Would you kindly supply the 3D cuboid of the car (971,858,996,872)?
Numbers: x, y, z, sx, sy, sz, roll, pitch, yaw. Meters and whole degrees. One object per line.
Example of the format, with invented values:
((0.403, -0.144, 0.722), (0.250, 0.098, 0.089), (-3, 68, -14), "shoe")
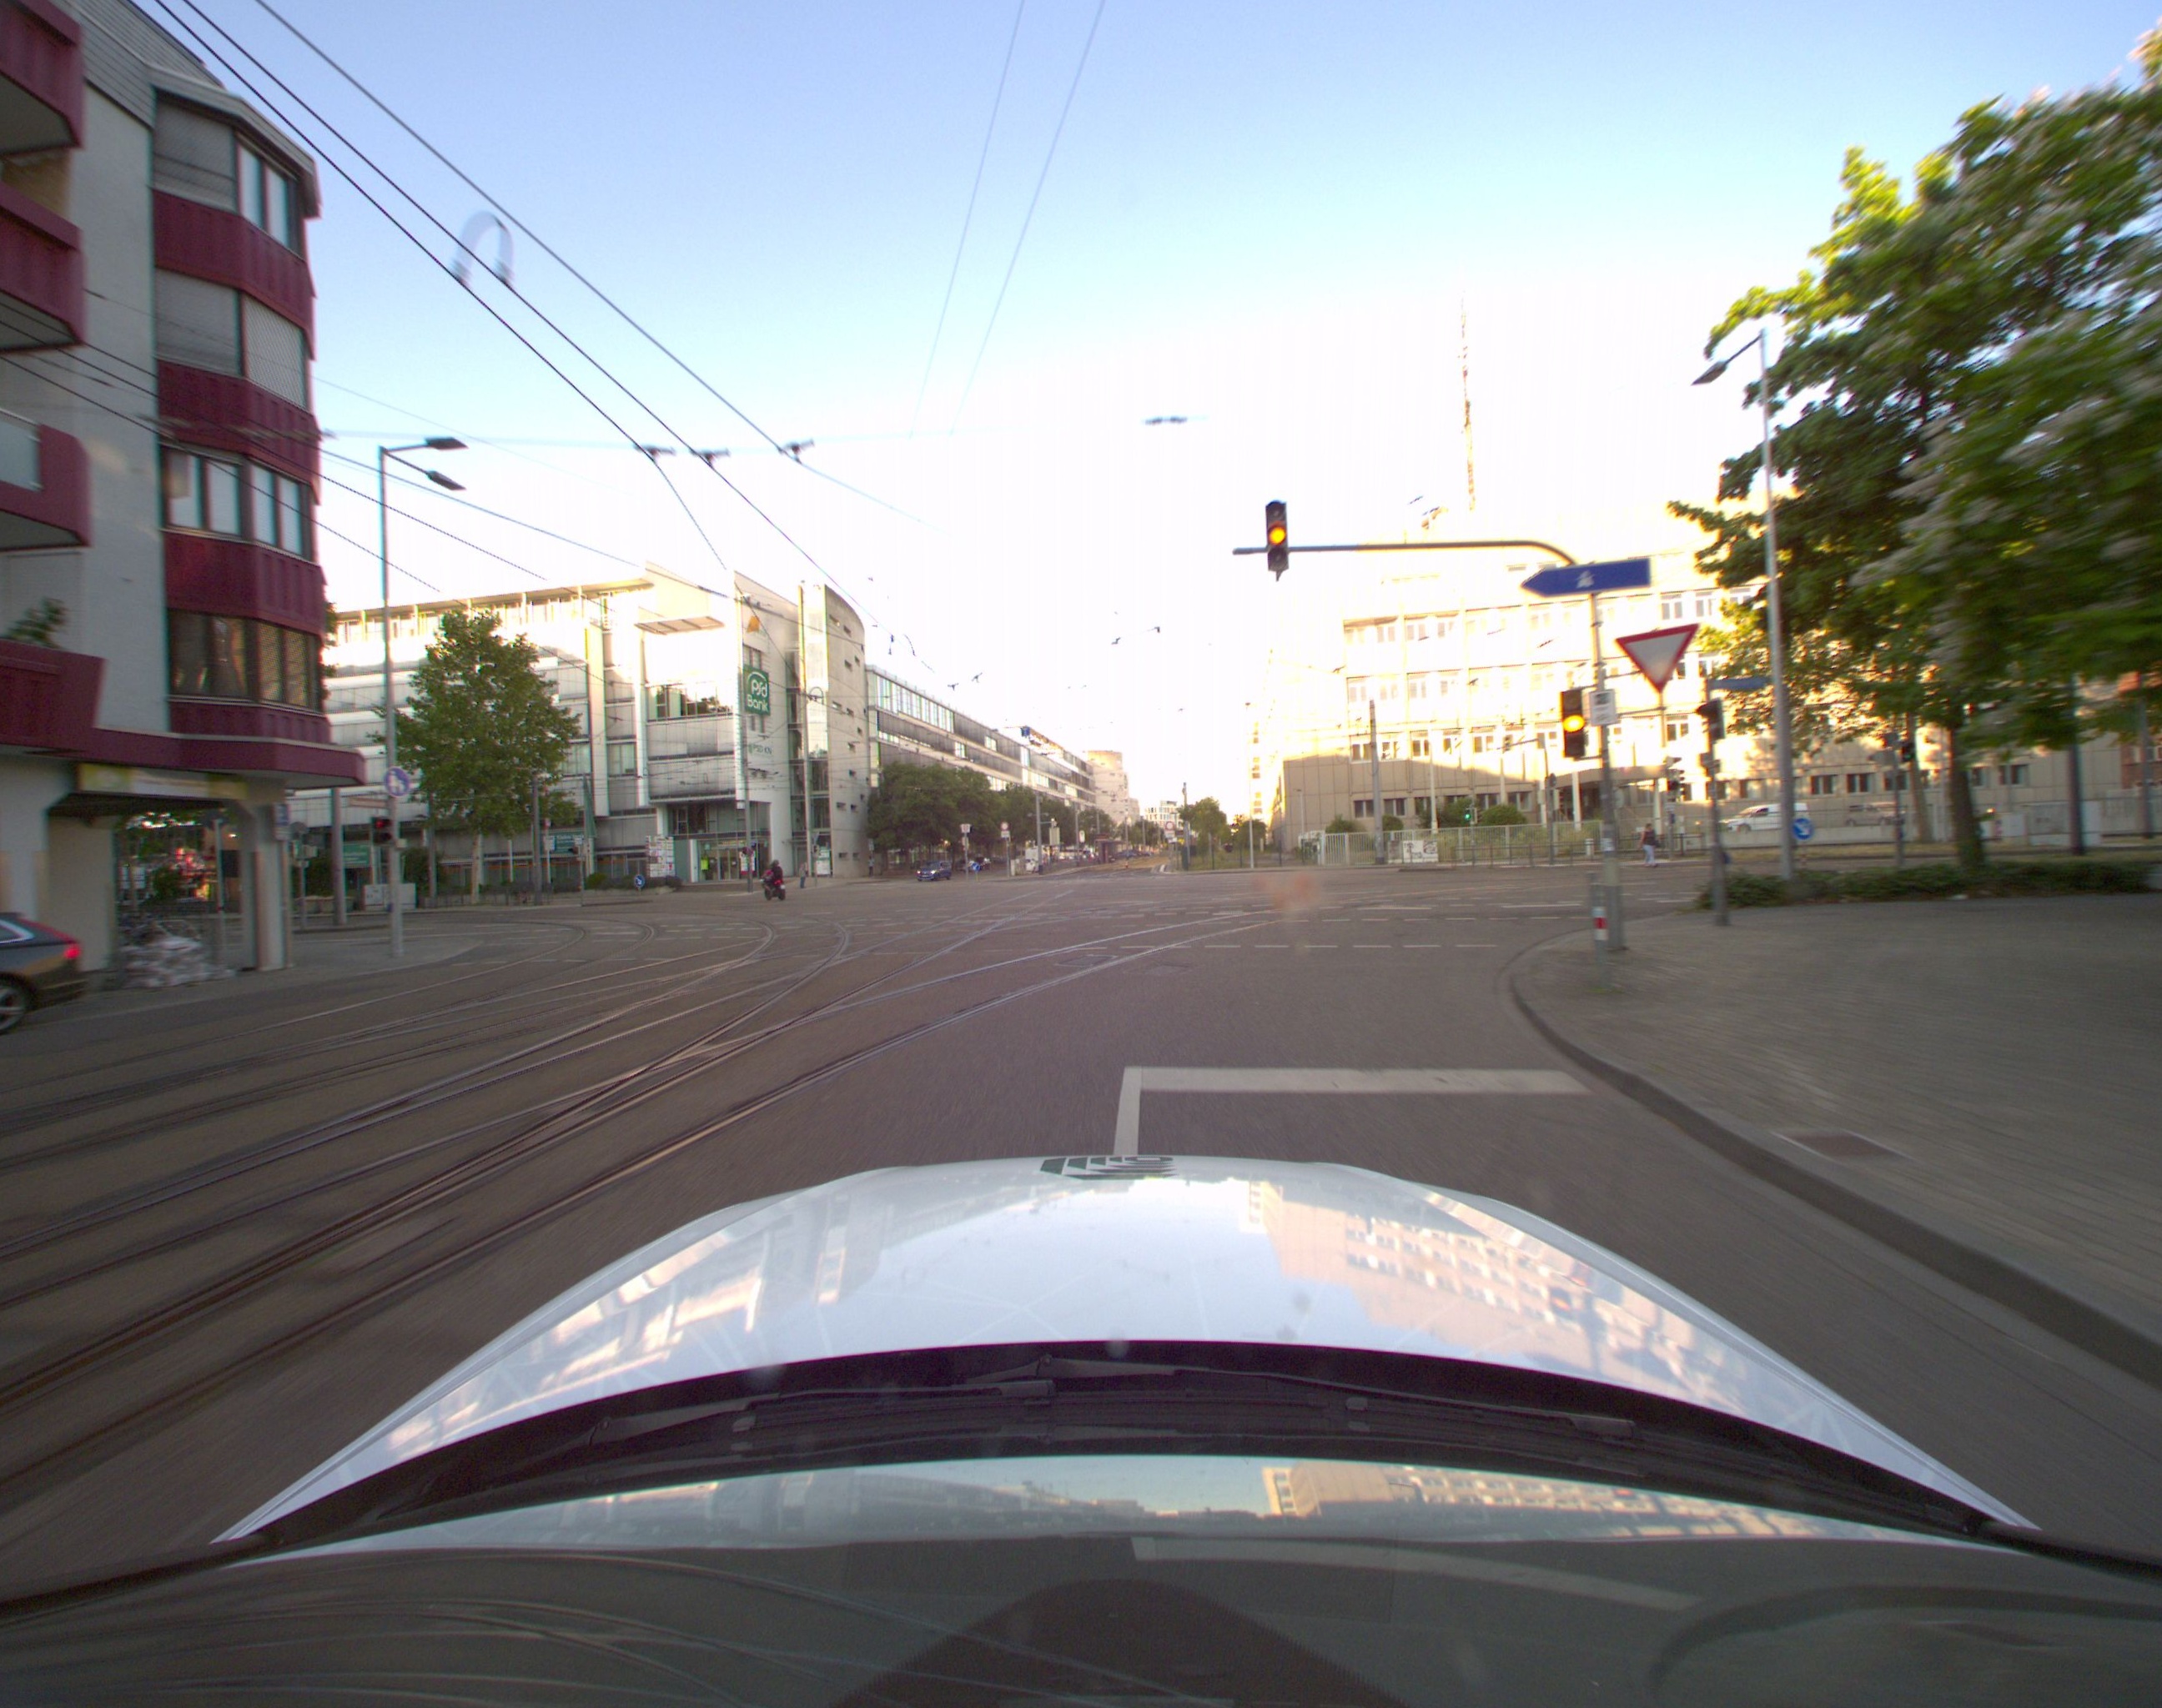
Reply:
((-11.891, 1.341, 99.301), (1.672, 1.501, 4.252), (-3, 0, 11), "car")

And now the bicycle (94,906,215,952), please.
((-23.091, 1.844, 20.348), (0.667, 0.957, 1.848), (-3, 0, 15), "bicycle")

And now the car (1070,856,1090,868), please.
((-0.099, 0.986, 103.005), (1.672, 1.439, 4.138), (-3, 0, 10), "car")

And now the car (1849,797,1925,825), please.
((54.694, -2.875, 55.346), (1.815, 1.615, 4.015), (-2, 0, 13), "car")

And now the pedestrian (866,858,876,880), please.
((-19.106, 1.383, 74.049), (0.660, 1.922, 0.548), (-3, 0, -1), "pedestrian")

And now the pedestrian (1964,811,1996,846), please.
((45.244, -1.272, 40.982), (1.066, 1.678, 0.876), (-2, 0, -32), "pedestrian")

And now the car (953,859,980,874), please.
((-13.087, 1.403, 93.261), (1.672, 1.501, 4.252), (-3, 0, 11), "car")

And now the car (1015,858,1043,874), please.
((-4.945, 1.130, 78.212), (1.672, 1.439, 4.138), (-3, 0, 10), "car")

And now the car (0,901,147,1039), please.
((-13.013, 1.357, 7.880), (1.843, 1.456, 5.091), (-2, 0, 4), "car")

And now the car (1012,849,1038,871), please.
((-8.228, 0.820, 120.994), (2.187, 3.152, 6.162), (-3, 0, 11), "car")

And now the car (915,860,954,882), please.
((-12.292, 1.411, 68.629), (1.671, 1.699, 4.253), (-3, 0, 12), "car")

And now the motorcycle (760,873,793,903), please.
((-13.580, 1.491, 36.283), (0.834, 1.240, 2.465), (-2, 0, -33), "motorcycle")

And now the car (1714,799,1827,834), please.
((44.233, -2.365, 52.387), (5.045, 1.874, 2.282), (-3, 0, 11), "car")

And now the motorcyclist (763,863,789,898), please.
((-13.562, 1.172, 36.219), (0.834, 1.473, 1.195), (-2, 0, -32), "motorcyclist")

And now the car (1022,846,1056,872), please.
((-4.272, 0.481, 83.948), (2.448, 2.482, 5.819), (-3, 0, 7), "car")

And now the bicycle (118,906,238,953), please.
((-22.291, 1.843, 20.158), (0.667, 0.957, 1.848), (-3, 0, 15), "bicycle")

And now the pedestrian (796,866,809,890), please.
((-20.192, 1.766, 59.093), (0.542, 1.711, 0.663), (-3, 0, 20), "pedestrian")

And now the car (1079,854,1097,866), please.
((0.988, 0.838, 111.021), (1.672, 1.439, 4.138), (-3, 0, 10), "car")

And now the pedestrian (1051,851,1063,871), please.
((-2.498, 0.717, 84.803), (1.042, 2.030, 0.978), (-2, 0, -17), "pedestrian")

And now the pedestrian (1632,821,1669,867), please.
((20.936, -0.364, 29.973), (0.749, 1.616, 0.831), (-2, -1, 6), "pedestrian")
